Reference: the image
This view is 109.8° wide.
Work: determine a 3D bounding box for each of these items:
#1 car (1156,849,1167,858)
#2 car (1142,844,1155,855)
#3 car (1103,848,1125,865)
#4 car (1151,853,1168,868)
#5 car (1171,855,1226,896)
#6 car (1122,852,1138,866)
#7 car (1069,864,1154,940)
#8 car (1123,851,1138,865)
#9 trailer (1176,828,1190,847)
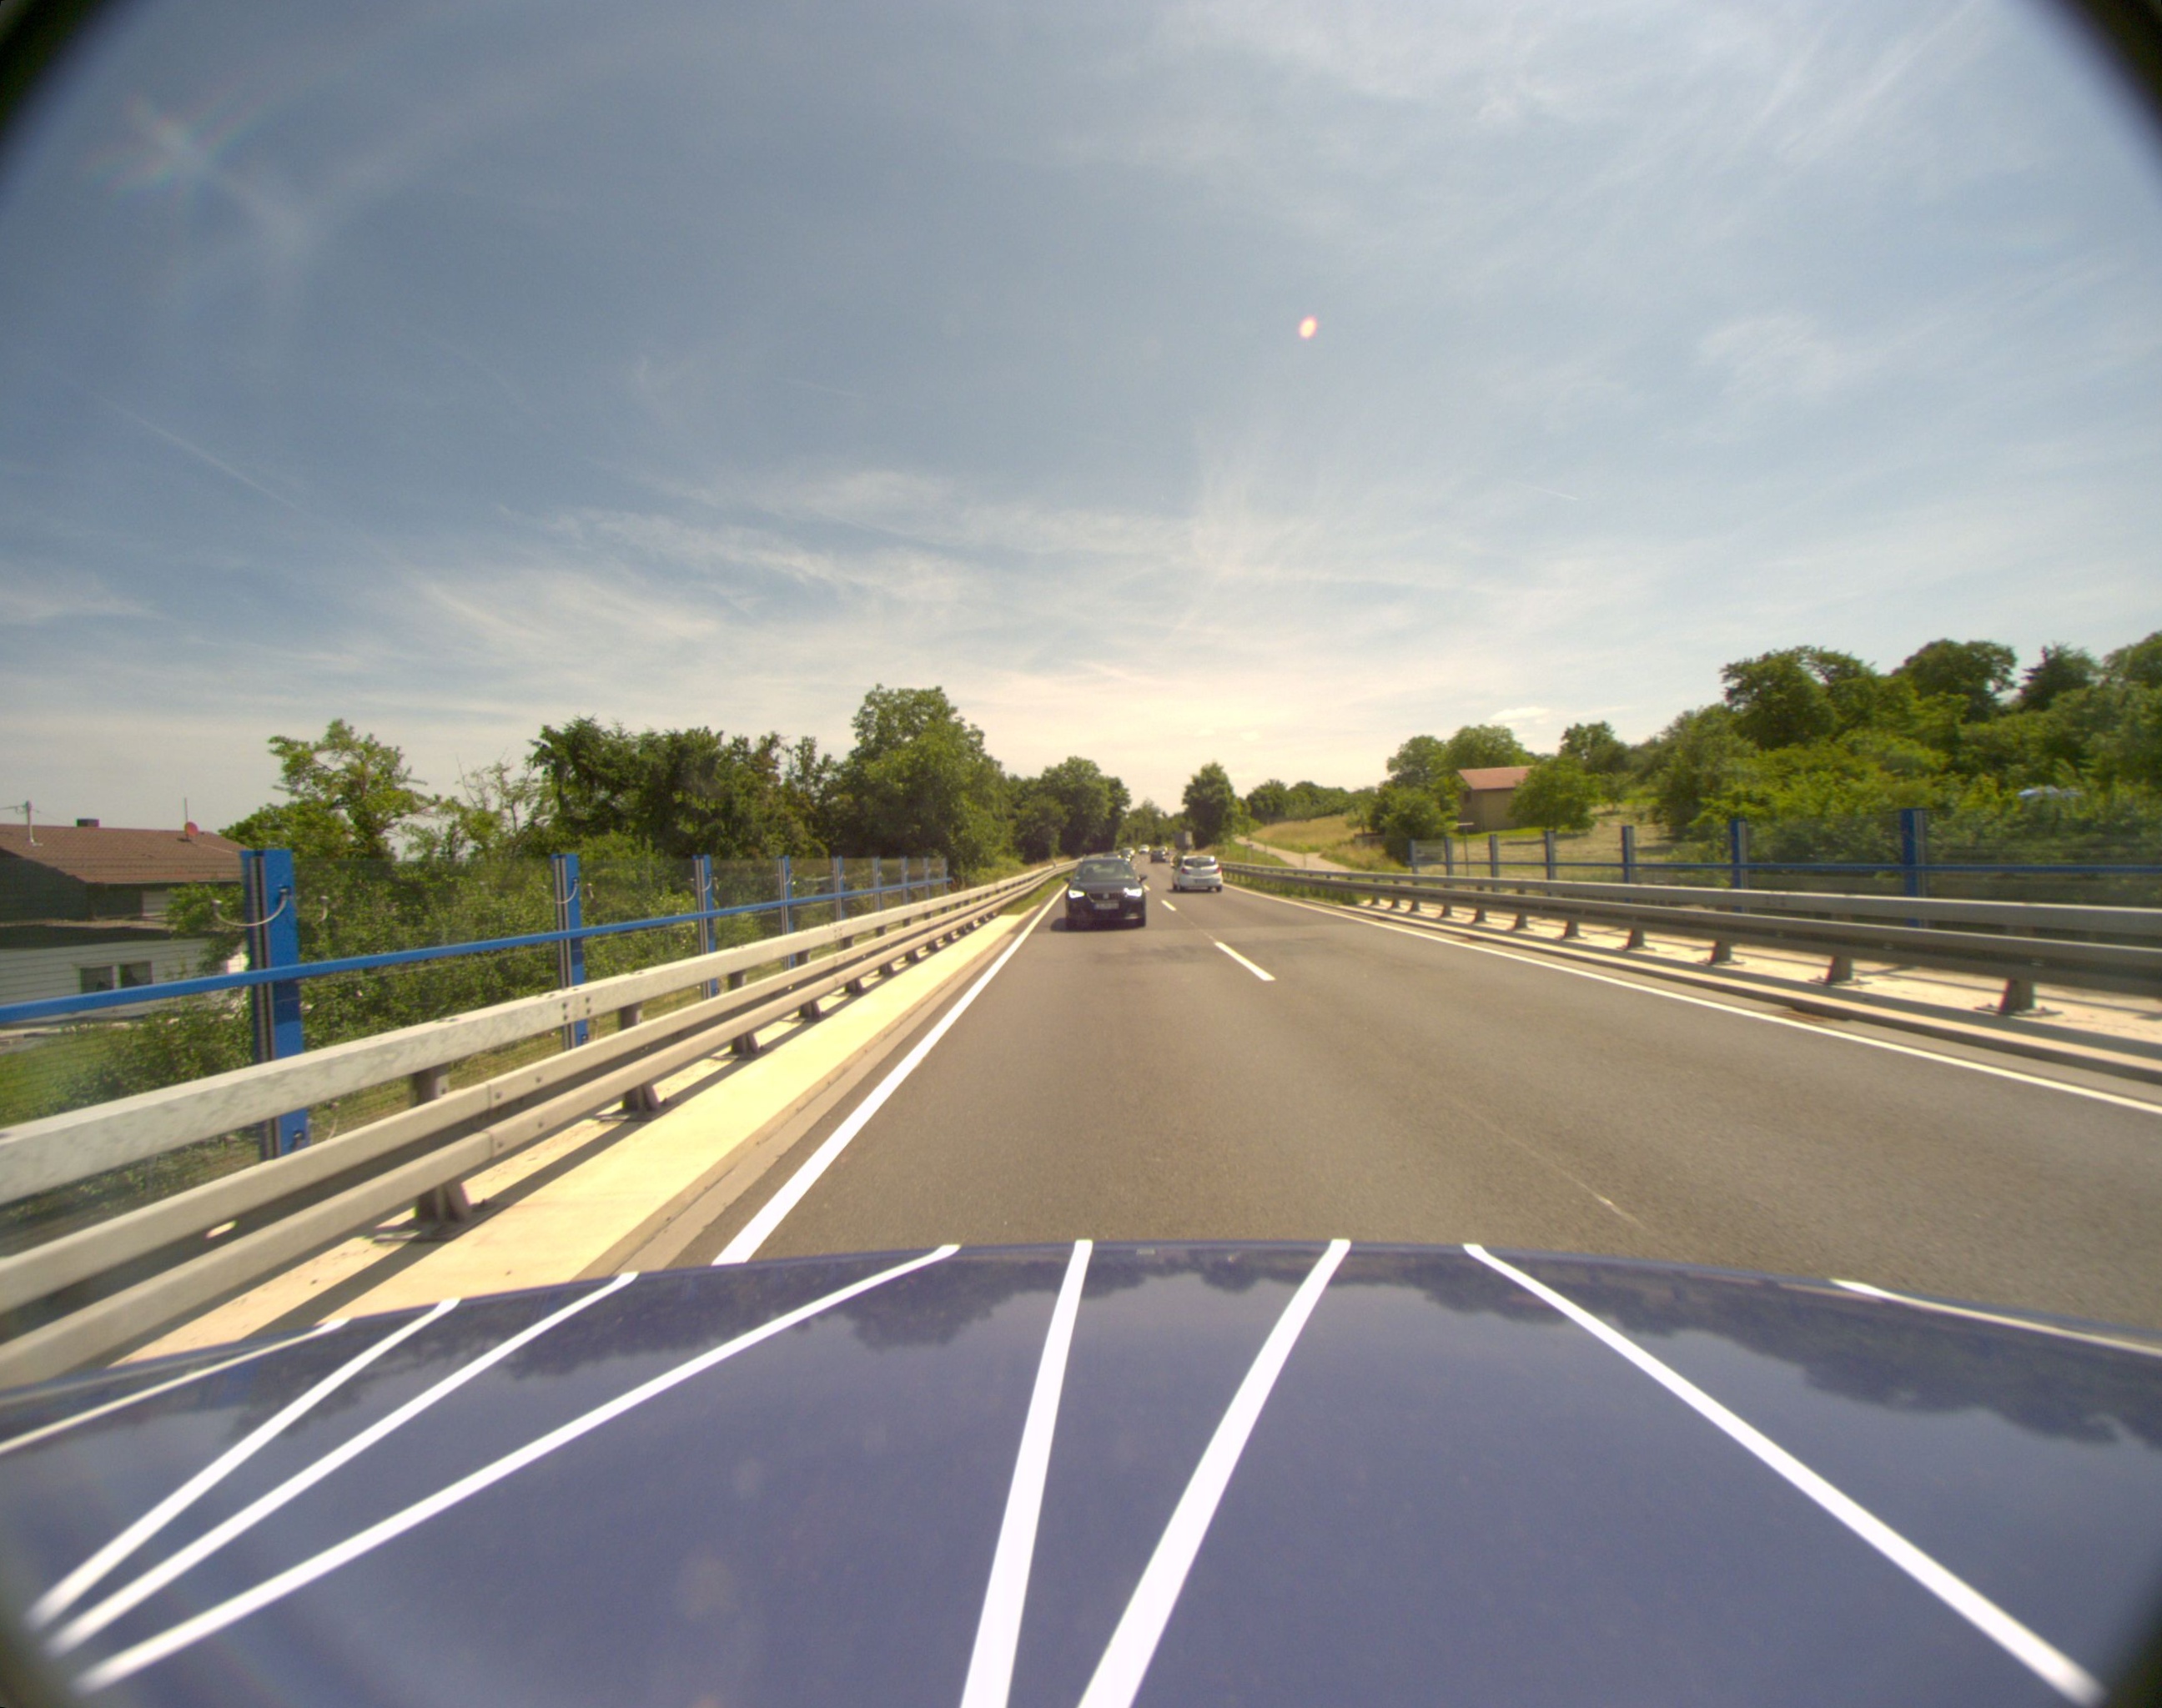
[{"bbox_3d":[13.977,-0.133,132.047,1.649,1.432,4.161,0,0,9],"label":"car"},{"bbox_3d":[12.776,-0.898,144.409,1.997,2.002,4.002,-2,1,11],"label":"car"},{"bbox_3d":[3.356,0.225,76.689,1.882,1.698,4.002,-1,0,8],"label":"car"},{"bbox_3d":[9.141,0.745,88.952,1.810,1.580,4.380,-1,1,4],"label":"car"},{"bbox_3d":[4.783,0.842,31.385,1.711,1.496,4.119,-1,0,1],"label":"car"},{"bbox_3d":[6.491,0.655,100.292,1.882,1.698,4.002,-1,0,7],"label":"car"},{"bbox_3d":[0.669,1.012,17.659,1.737,1.467,4.000,-1,0,1],"label":"car"},{"bbox_3d":[7.669,0.565,117.777,1.997,2.002,4.002,-1,1,9],"label":"car"},{"bbox_3d":[23.691,-3.790,176.253,2.449,4.160,14.025,-1,1,11],"label":"trailer"}]
